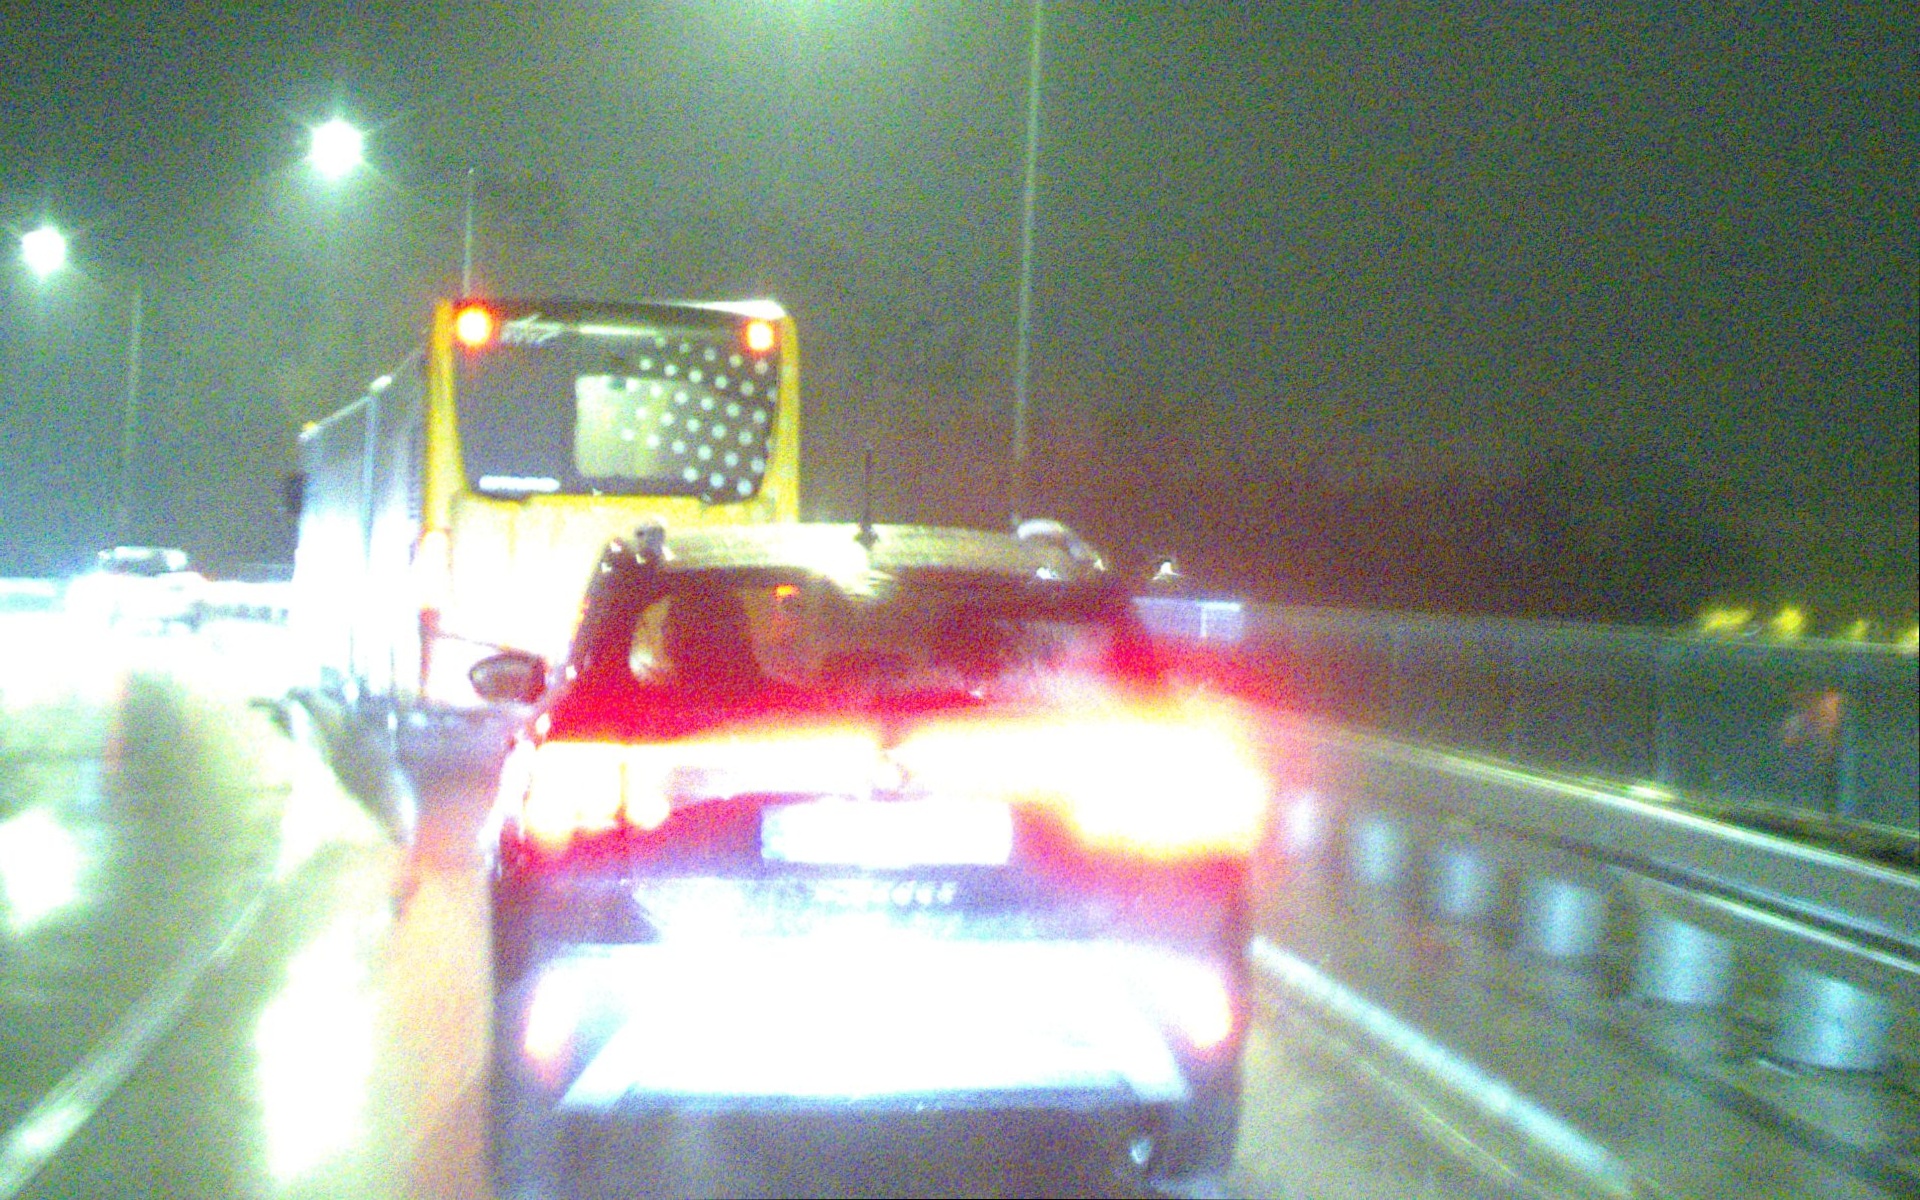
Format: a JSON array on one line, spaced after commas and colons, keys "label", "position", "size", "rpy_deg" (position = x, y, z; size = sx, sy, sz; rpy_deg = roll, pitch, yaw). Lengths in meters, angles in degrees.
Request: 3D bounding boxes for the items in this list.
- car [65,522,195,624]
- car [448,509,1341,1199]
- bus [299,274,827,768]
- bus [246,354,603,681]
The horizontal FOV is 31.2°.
[{"label": "car", "position": [-14.441, -0.453, 59.706], "size": [1.636, 1.650, 3.710], "rpy_deg": [0, -1, -23]}, {"label": "car", "position": [-0.240, 0.588, 9.176], "size": [1.855, 1.581, 4.001], "rpy_deg": [0, 0, -3]}, {"label": "bus", "position": [-3.714, -0.633, 28.270], "size": [3.082, 3.122, 12.701], "rpy_deg": [-1, 1, -12]}, {"label": "bus", "position": [-6.169, -0.891, 38.413], "size": [3.047, 3.121, 8.081], "rpy_deg": [3, 0, -14]}]
